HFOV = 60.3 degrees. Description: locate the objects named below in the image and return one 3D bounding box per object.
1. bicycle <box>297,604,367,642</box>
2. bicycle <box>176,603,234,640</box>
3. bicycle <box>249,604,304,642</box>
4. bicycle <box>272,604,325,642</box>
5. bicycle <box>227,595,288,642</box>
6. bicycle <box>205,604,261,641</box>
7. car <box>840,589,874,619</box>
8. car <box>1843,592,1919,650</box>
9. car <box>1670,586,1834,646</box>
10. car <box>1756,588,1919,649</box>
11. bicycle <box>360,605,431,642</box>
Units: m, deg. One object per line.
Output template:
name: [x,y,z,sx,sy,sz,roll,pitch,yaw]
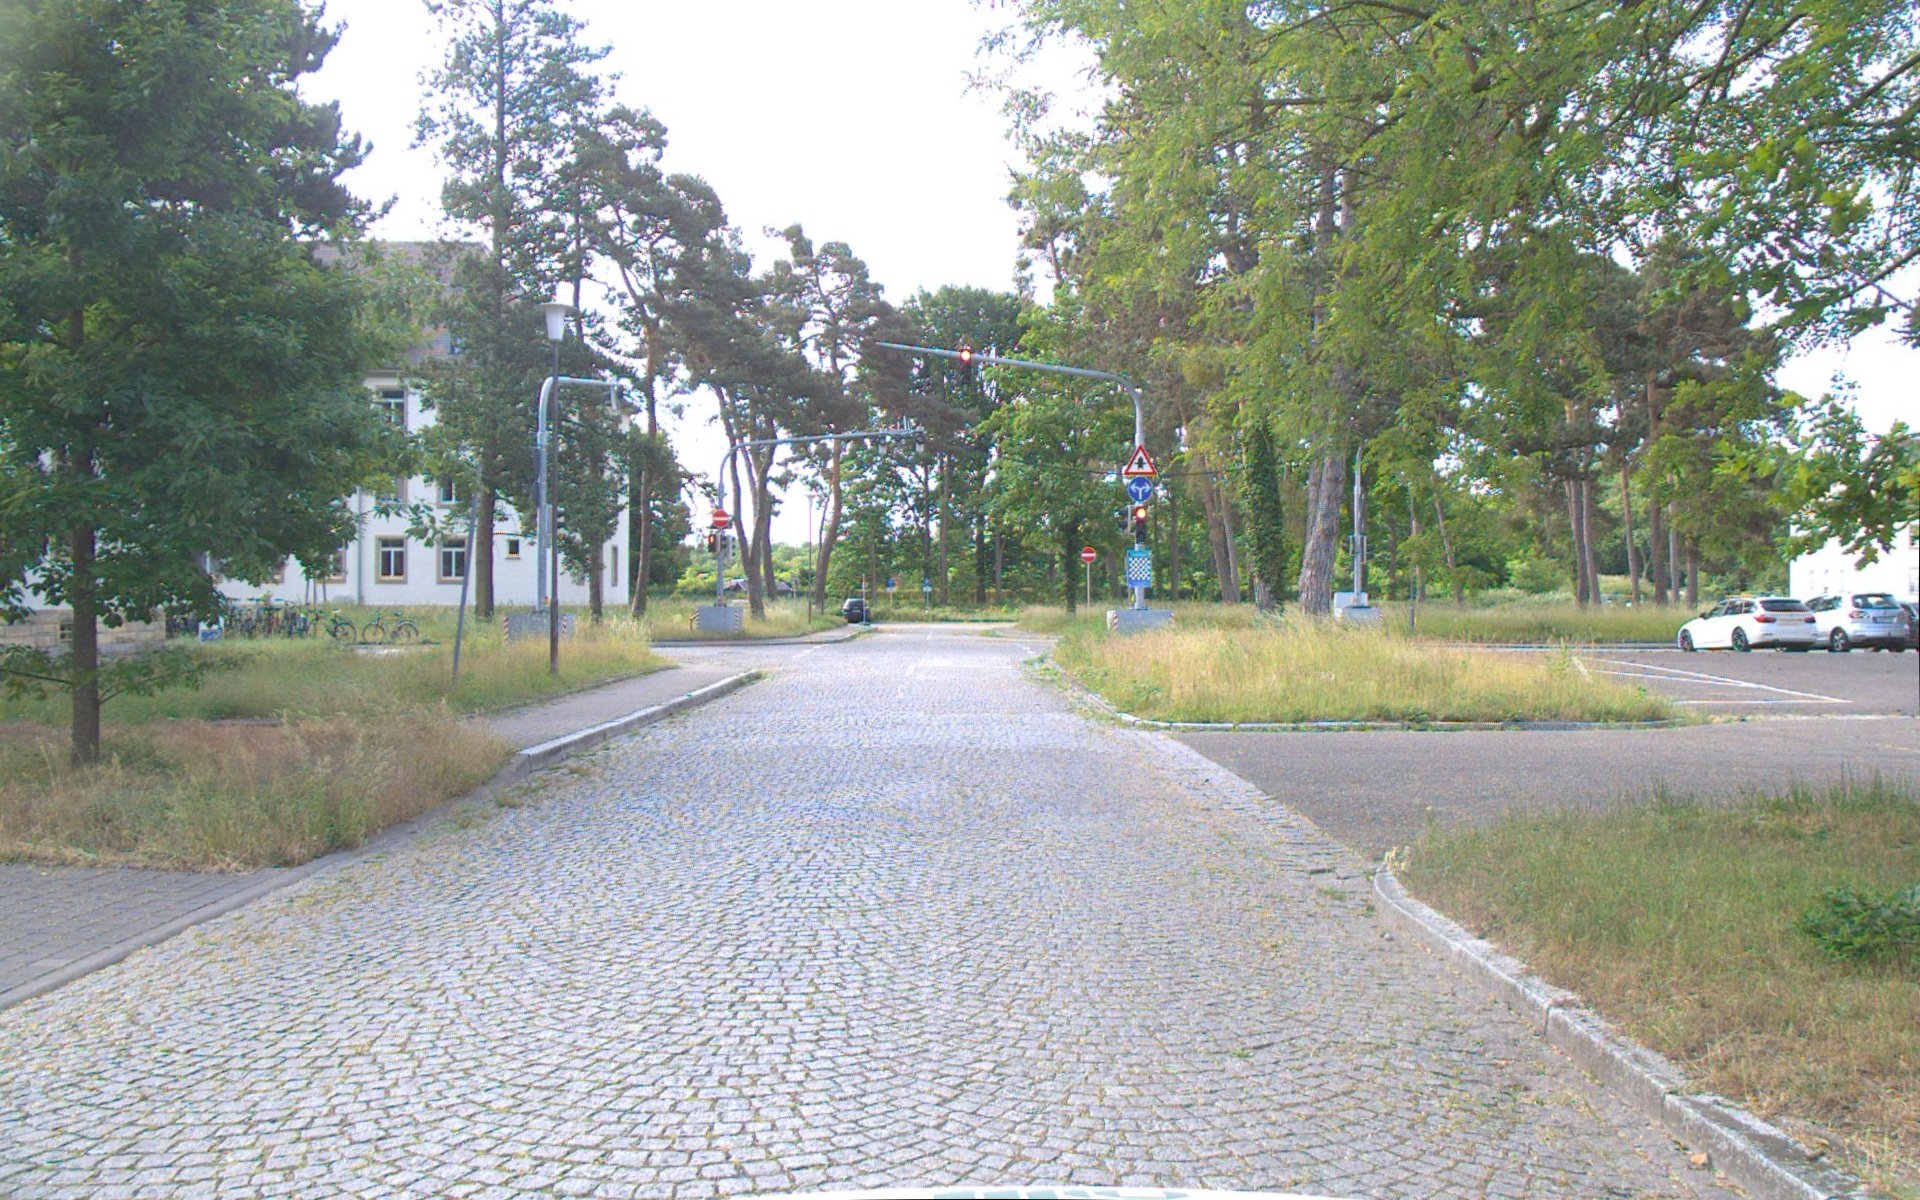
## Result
bicycle: [-18.647,0.677,49.128,1.818,1.095,0.738,0,0,1]
bicycle: [-22.899,0.646,50.205,0.721,1.095,2.273,0,0,0]
bicycle: [-20.750,0.690,50.266,0.721,1.095,2.273,0,0,0]
bicycle: [-20.121,0.684,50.356,0.721,1.095,2.273,0,0,0]
bicycle: [-21.484,0.539,50.611,0.721,1.410,2.711,0,0,0]
bicycle: [-22.272,0.672,50.708,0.721,1.095,2.273,0,0,0]
car: [-6.647,0.256,106.683,2.014,1.878,3.999,0,0,-2]
car: [25.841,0.579,44.122,1.954,1.507,4.421,0,-1,-4]
car: [20.765,0.449,43.571,1.954,1.507,4.421,0,-1,-4]
car: [23.230,0.512,43.789,1.954,1.507,4.421,0,-1,-4]
bicycle: [-16.796,0.688,49.195,1.818,1.095,0.831,0,0,1]
